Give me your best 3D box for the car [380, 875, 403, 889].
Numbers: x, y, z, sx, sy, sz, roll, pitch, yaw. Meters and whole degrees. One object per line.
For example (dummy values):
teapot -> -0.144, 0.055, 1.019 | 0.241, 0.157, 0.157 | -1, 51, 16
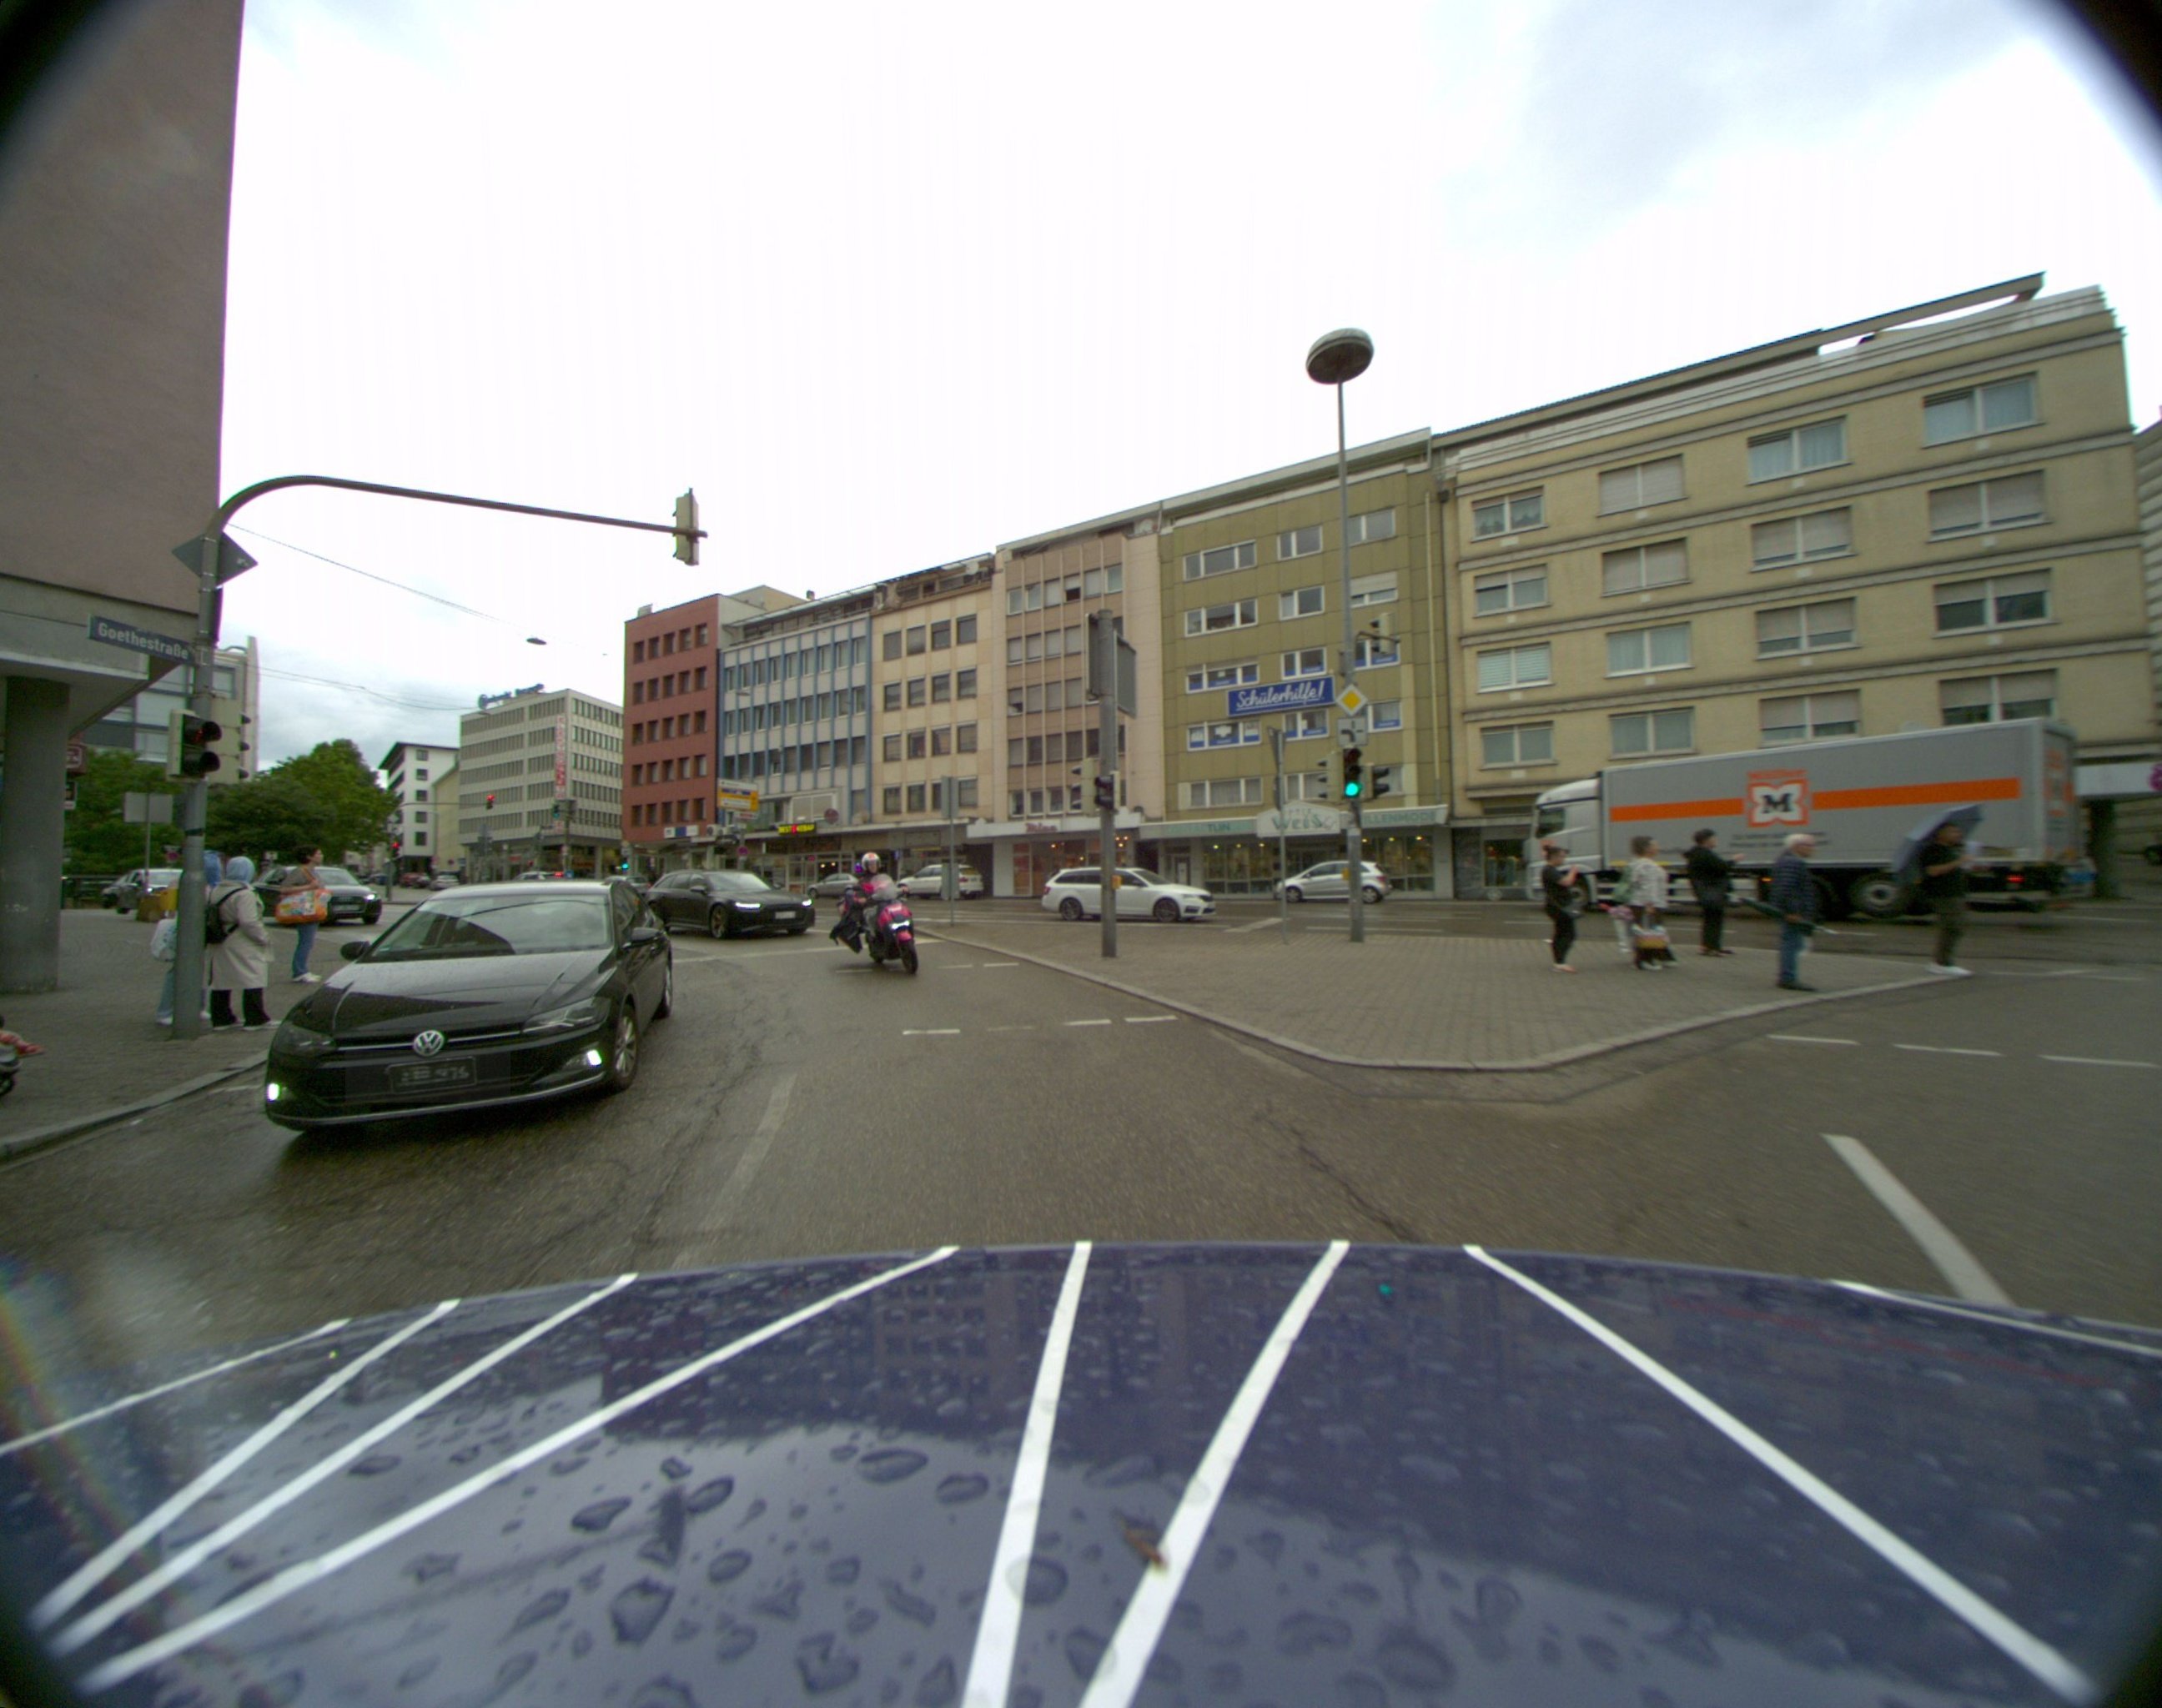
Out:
car -> -97.213, 3.918, 107.091 | 4.034, 1.830, 2.031 | -3, -1, 44

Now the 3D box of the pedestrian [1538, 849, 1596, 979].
pedestrian -> 5.821, 0.687, 9.103 | 0.559, 1.479, 0.708 | 0, 1, 33

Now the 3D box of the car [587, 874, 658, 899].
car -> -27.908, 1.969, 46.185 | 4.741, 1.437, 1.795 | -2, -1, 33

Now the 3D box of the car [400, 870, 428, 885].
car -> -77.866, 2.735, 88.705 | 4.433, 1.662, 1.938 | -3, -1, 42

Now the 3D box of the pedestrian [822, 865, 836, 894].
pedestrian -> -15.080, 1.529, 45.444 | 0.582, 1.698, 0.448 | -2, 0, 29

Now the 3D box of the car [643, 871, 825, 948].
car -> -7.896, 1.147, 17.078 | 4.721, 1.482, 2.004 | -2, -1, 42

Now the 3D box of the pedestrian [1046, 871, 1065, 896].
pedestrian -> -1.272, 1.463, 37.909 | 0.719, 1.242, 0.537 | -2, 0, 27

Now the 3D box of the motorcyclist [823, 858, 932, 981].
motorcyclist -> -2.842, 0.867, 10.627 | 0.950, 1.595, 1.095 | -2, -1, 44

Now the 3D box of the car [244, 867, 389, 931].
car -> -20.959, 1.199, 20.796 | 4.093, 1.538, 1.876 | -2, 0, 32

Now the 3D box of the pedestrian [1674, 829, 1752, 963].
pedestrian -> 8.392, 0.529, 10.119 | 0.705, 1.701, 0.788 | 0, 1, 33

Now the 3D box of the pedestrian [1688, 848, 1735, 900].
pedestrian -> 20.221, 0.643, 24.379 | 0.775, 1.618, 0.844 | -1, 0, -15

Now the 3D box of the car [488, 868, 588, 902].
car -> -27.719, 1.582, 38.779 | 4.419, 1.542, 2.003 | -2, 0, 21

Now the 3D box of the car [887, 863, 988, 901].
car -> -7.243, 1.397, 38.291 | 4.950, 1.816, 1.859 | -2, -1, 30

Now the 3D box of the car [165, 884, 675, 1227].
car -> -4.344, 1.070, 5.824 | 1.745, 1.423, 3.872 | -3, 1, -22

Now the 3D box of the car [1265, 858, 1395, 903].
car -> 9.515, 1.025, 29.082 | 4.389, 1.541, 1.857 | -2, 0, 28

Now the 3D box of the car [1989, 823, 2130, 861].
car -> 45.542, -0.558, 35.539 | 1.895, 1.537, 4.387 | -4, 0, 19

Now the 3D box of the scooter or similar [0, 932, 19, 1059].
scooter or similar -> -9.526, 1.168, 6.241 | 1.045, 0.980, 0.774 | 3, -1, 28

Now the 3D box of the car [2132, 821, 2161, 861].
car -> 43.186, -0.532, 28.665 | 1.895, 1.537, 4.387 | -4, 0, 19

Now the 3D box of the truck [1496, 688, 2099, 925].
truck -> 16.474, -0.751, 19.253 | 2.859, 4.307, 10.750 | -1, -1, -26

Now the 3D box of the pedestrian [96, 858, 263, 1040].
pedestrian -> -8.513, 0.874, 7.211 | 0.746, 1.625, 0.595 | 4, -1, -20

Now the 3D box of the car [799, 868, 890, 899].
car -> -12.896, 1.581, 41.377 | 4.867, 1.599, 1.875 | -2, -1, 30

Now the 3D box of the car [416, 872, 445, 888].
car -> -72.334, 2.902, 84.475 | 4.602, 1.739, 2.031 | -3, -1, 44

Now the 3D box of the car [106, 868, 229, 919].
car -> -31.335, 1.357, 26.063 | 4.093, 1.574, 2.004 | -3, -1, 30

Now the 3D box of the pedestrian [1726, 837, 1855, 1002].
pedestrian -> 7.161, 0.620, 7.718 | 0.852, 1.559, 0.716 | 0, 1, 33

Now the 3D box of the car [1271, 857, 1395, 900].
car -> 9.567, 0.926, 28.895 | 4.191, 1.554, 1.709 | -2, -1, 29

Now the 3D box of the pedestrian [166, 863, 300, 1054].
pedestrian -> -7.937, 0.939, 7.118 | 0.836, 1.627, 0.542 | 3, -2, 29

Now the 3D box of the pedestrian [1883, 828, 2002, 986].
pedestrian -> 9.679, 0.555, 8.569 | 0.691, 1.682, 0.760 | 1, 1, 33

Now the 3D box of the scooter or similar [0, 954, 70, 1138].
scooter or similar -> -7.316, 1.232, 4.794 | 0.975, 1.102, 0.653 | 3, -3, -42

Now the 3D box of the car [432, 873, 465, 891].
car -> -61.944, 2.761, 74.421 | 4.602, 1.621, 2.007 | -3, -1, 45

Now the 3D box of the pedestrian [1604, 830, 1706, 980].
pedestrian -> 6.853, 0.573, 9.129 | 0.912, 1.662, 0.983 | -1, 0, 34

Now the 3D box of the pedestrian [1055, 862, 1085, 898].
pedestrian -> -0.524, 1.273, 37.276 | 1.084, 1.685, 0.956 | -2, 0, 27

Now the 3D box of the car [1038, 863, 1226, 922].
car -> 1.312, 1.007, 20.202 | 4.619, 1.407, 1.802 | -2, -1, 28

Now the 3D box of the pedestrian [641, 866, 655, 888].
pedestrian -> -36.418, 1.931, 63.924 | 0.733, 1.737, 0.743 | -2, 0, 0

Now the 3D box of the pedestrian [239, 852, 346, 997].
pedestrian -> -9.676, 0.839, 9.358 | 0.629, 1.682, 0.780 | 2, -1, -26

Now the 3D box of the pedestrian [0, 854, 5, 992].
pedestrian -> -12.120, 0.601, 7.959 | 0.664, 1.855, 0.840 | -1, 1, 45

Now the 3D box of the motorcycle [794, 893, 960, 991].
motorcycle -> -2.901, 1.158, 10.707 | 2.179, 1.128, 1.317 | -1, -1, 44
